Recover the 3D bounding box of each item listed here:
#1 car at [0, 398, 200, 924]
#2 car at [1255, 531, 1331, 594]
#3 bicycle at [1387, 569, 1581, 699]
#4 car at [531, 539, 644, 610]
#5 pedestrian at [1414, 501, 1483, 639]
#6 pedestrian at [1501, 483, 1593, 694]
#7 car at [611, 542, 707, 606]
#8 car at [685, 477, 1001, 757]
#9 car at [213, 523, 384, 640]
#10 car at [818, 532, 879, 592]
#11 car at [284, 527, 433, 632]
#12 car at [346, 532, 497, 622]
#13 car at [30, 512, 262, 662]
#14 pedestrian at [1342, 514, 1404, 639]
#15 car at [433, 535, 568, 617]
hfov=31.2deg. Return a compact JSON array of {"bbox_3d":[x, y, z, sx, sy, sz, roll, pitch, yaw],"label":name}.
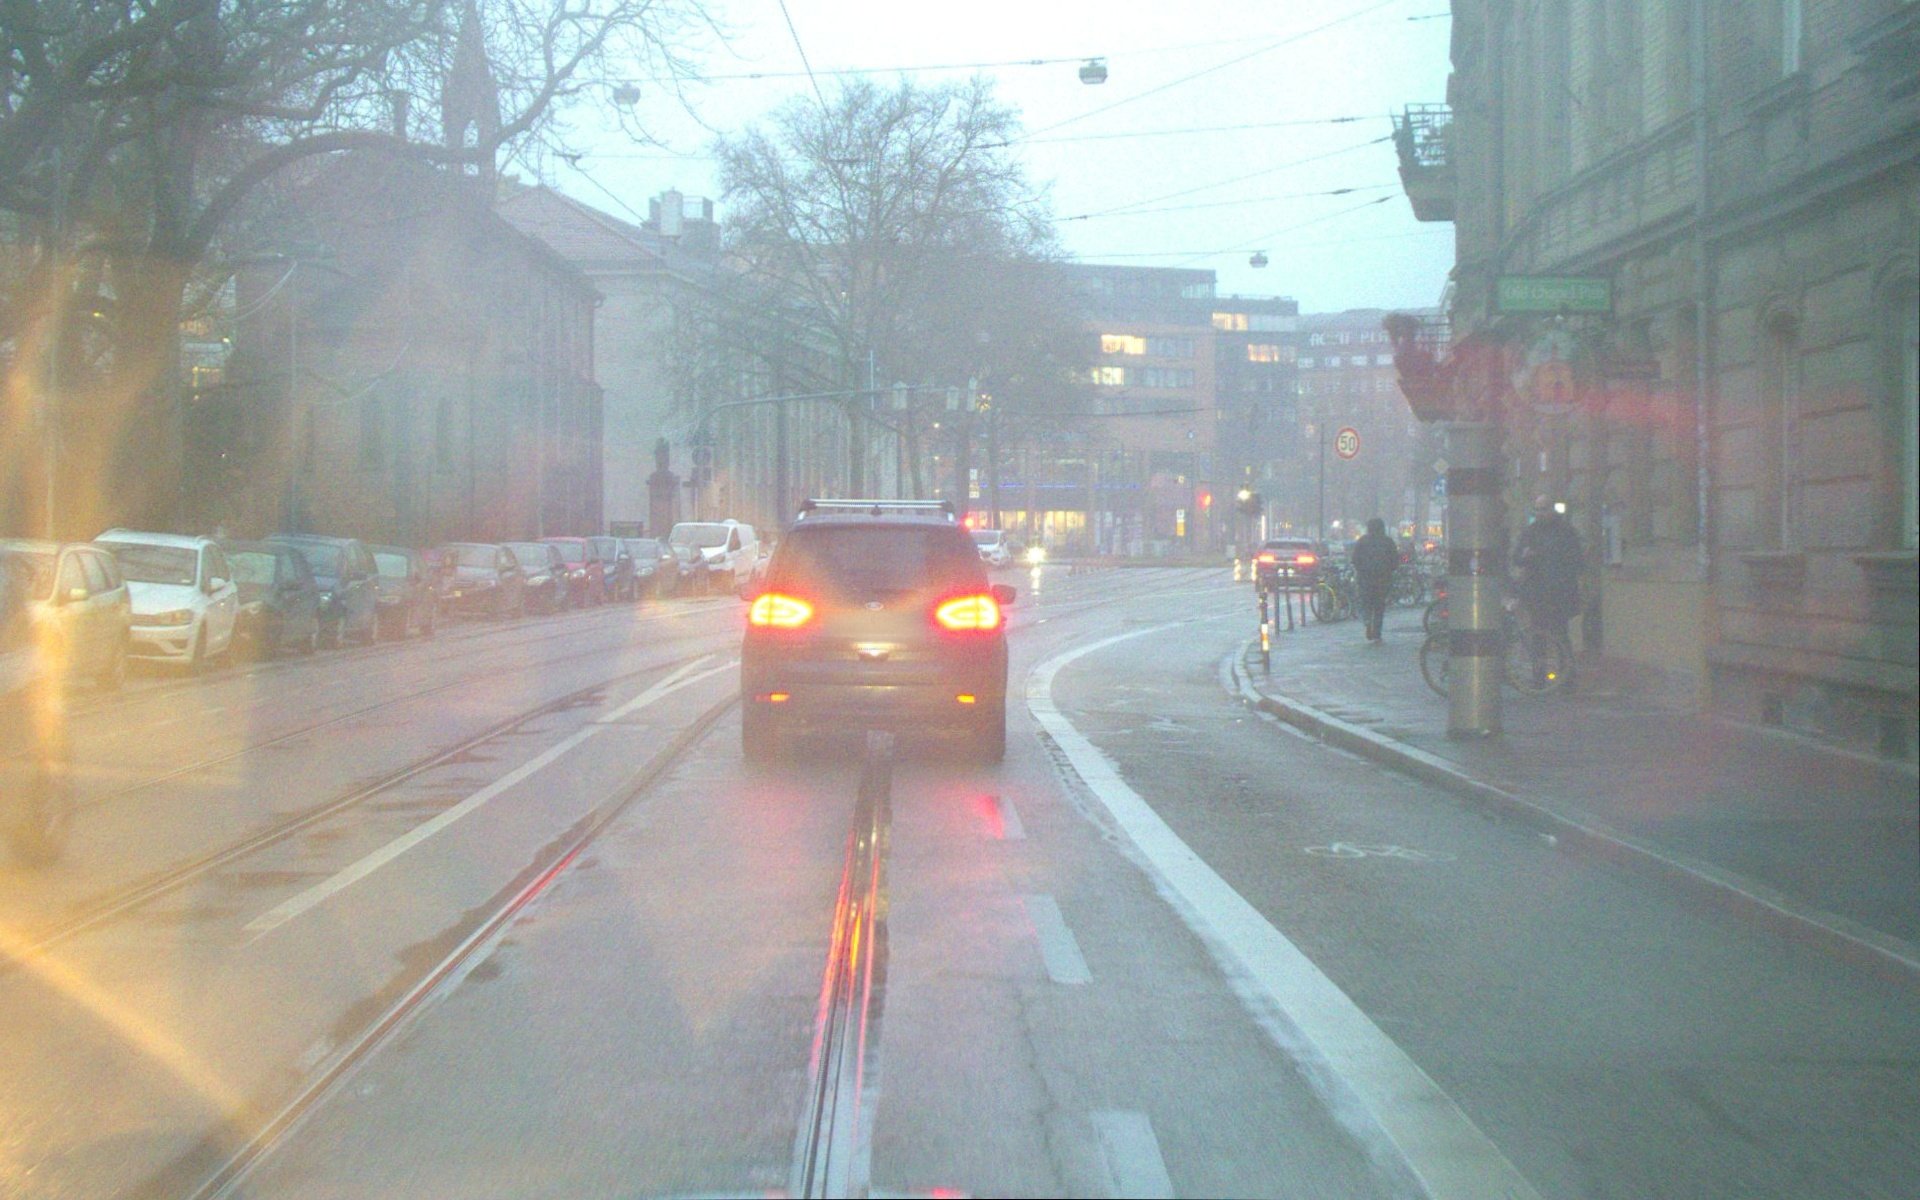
[{"bbox_3d":[-4.630,0.208,14.203,1.993,2.007,4.000,1,1,1],"label":"car"},{"bbox_3d":[9.972,-1.148,103.222,1.993,1.835,4.000,1,1,2],"label":"car"},{"bbox_3d":[4.845,0.297,31.953,0.792,1.140,2.244,1,1,-20],"label":"bicycle"},{"bbox_3d":[-8.871,-0.612,82.196,1.984,1.610,4.429,1,1,3],"label":"car"},{"bbox_3d":[6.374,-0.396,44.879,0.771,1.769,0.685,1,0,-1],"label":"pedestrian"},{"bbox_3d":[5.486,-0.109,32.160,0.715,1.946,0.657,1,0,0],"label":"pedestrian"},{"bbox_3d":[-7.900,-0.686,90.626,1.984,1.610,4.429,1,1,2],"label":"car"},{"bbox_3d":[-0.757,0.080,24.817,1.993,1.835,4.000,1,1,2],"label":"car"},{"bbox_3d":[-9.631,-0.282,50.330,1.983,1.610,4.430,1,1,-5],"label":"car"},{"bbox_3d":[-3.853,-1.313,119.354,1.993,2.007,4.000,1,1,-1],"label":"car"},{"bbox_3d":[-9.749,-0.345,55.982,1.983,1.610,4.430,1,1,-5],"label":"car"},{"bbox_3d":[-10.109,-0.447,64.827,1.984,1.610,4.429,1,1,2],"label":"car"},{"bbox_3d":[-9.405,-0.167,40.041,1.983,1.610,4.430,1,1,-5],"label":"car"},{"bbox_3d":[5.953,-0.341,49.549,0.771,1.769,0.685,1,0,-1],"label":"pedestrian"},{"bbox_3d":[-9.460,-0.503,71.062,1.984,1.610,4.429,1,1,3],"label":"car"}]
